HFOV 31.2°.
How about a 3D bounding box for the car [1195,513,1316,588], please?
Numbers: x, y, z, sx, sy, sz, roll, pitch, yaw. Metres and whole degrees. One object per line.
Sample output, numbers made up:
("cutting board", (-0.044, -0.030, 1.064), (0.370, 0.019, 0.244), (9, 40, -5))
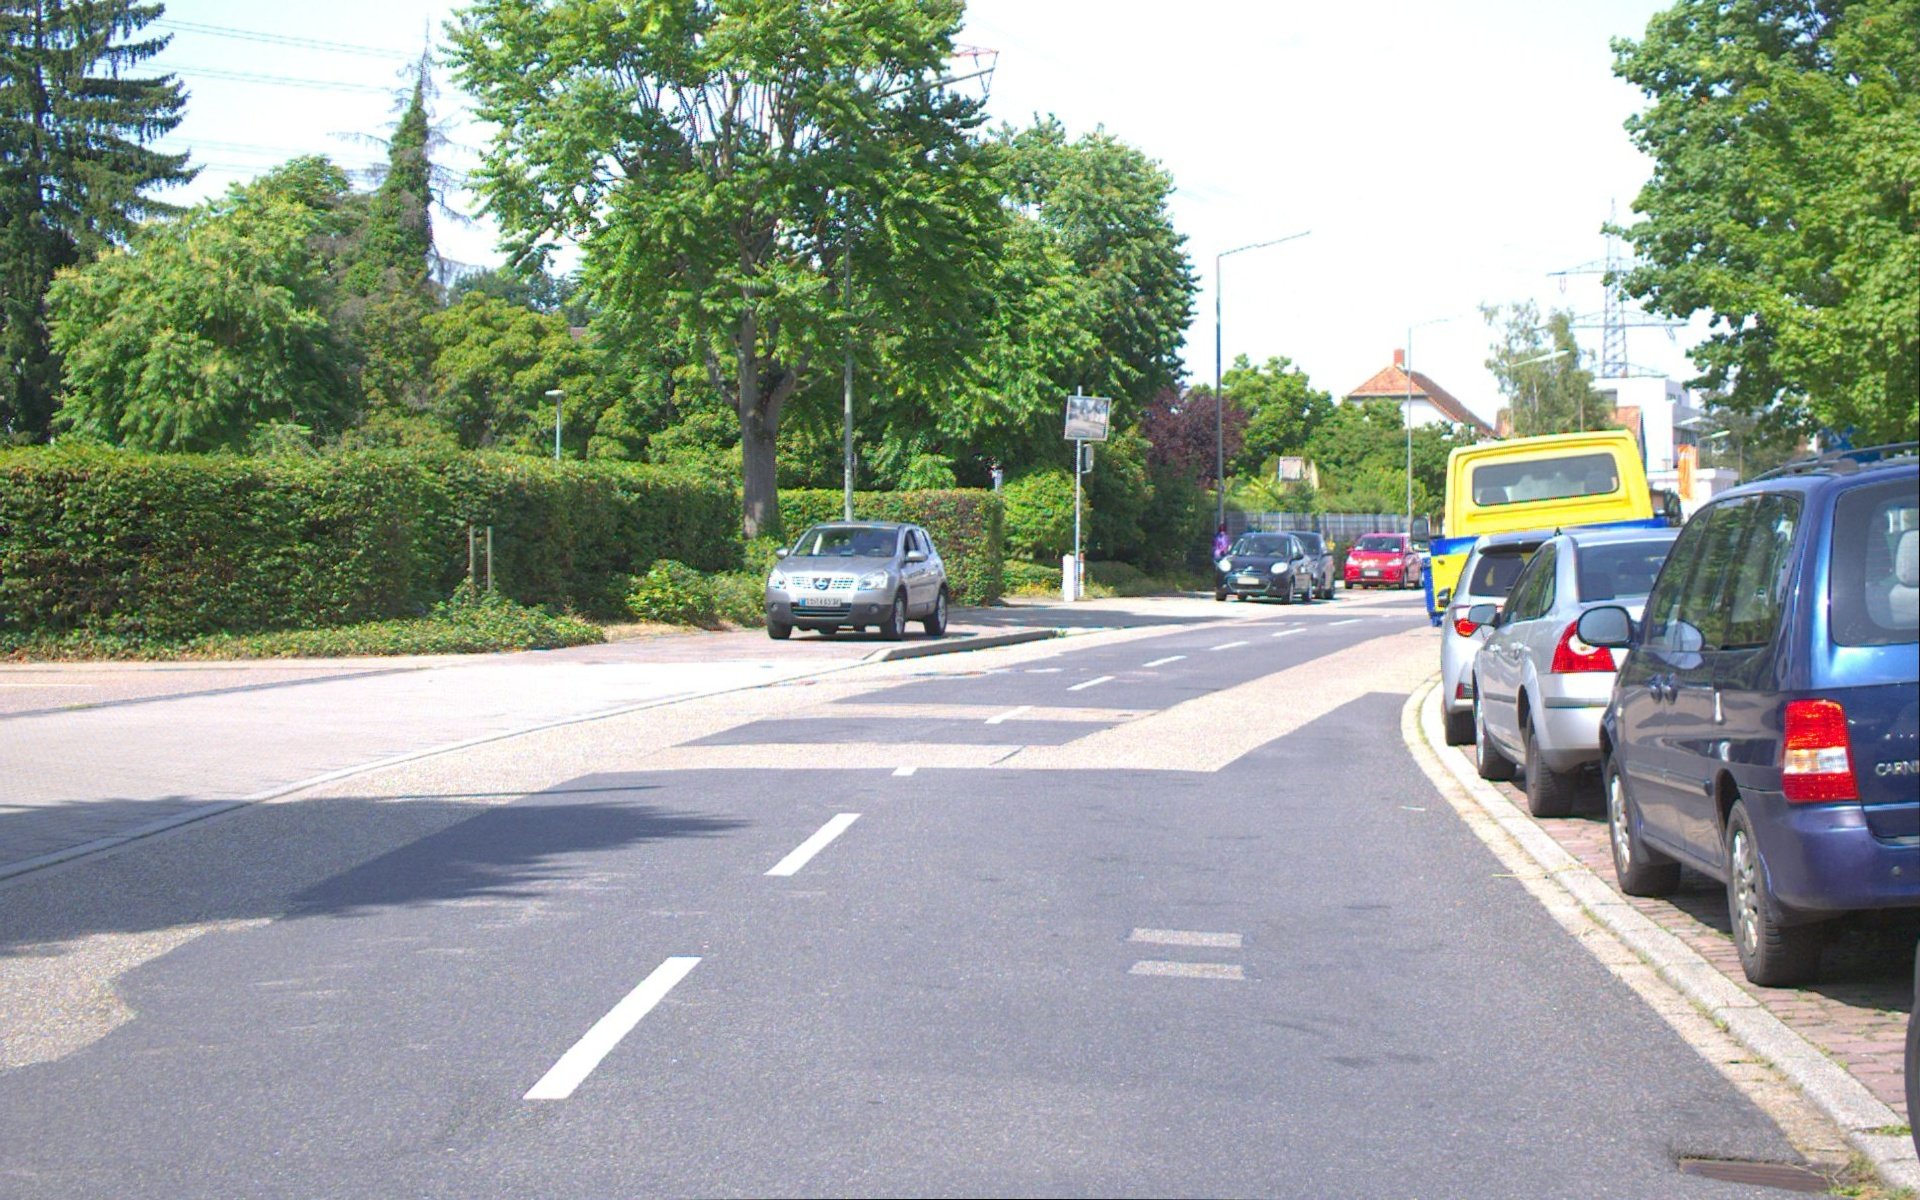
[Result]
("car", (6.452, -1.085, 74.757), (1.846, 1.503, 3.997), (3, 2, 15))

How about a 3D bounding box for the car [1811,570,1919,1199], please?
("car", (3.013, 0.681, 6.037), (1.841, 1.455, 4.869), (-2, 1, 1))

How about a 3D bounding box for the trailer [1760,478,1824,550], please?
("trailer", (33.730, -3.439, 139.230), (2.206, 2.727, 6.217), (-3, 0, 15))

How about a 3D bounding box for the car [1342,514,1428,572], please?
("car", (11.364, -1.522, 91.757), (1.667, 1.462, 3.741), (2, 1, 17))

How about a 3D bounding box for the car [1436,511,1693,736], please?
("car", (4.366, 0.132, 25.256), (1.686, 1.489, 3.947), (-1, 1, 8))

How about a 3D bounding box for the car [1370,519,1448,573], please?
("car", (12.605, -1.520, 96.348), (1.646, 1.472, 4.026), (0, 1, 15))

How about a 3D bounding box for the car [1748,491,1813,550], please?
("car", (28.828, -2.773, 120.722), (1.995, 2.007, 5.645), (0, 1, 16))

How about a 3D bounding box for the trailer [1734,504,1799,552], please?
("trailer", (26.070, -2.307, 111.215), (1.749, 1.412, 4.547), (-3, 0, 11))

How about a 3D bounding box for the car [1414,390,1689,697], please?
("car", (5.374, -0.509, 31.331), (2.158, 2.456, 6.637), (-1, 1, 10))

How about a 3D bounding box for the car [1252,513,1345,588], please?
("car", (7.913, -1.173, 80.187), (1.651, 1.639, 3.271), (3, 2, 14))

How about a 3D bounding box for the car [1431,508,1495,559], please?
("car", (15.369, -2.046, 104.906), (1.621, 1.517, 4.173), (0, 1, 13))

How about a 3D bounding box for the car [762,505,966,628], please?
("car", (-1.256, -0.472, 46.936), (1.758, 1.568, 4.475), (1, 1, 12))

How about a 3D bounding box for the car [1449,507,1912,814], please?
("car", (3.924, 0.261, 19.486), (1.832, 1.487, 4.656), (-2, 1, 3))

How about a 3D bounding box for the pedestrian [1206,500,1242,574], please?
("pedestrian", (6.415, -1.525, 83.603), (0.708, 1.795, 0.915), (0, 1, 16))

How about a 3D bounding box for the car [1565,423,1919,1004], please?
("car", (3.545, 0.276, 12.992), (1.850, 1.759, 5.077), (-2, 1, 3))

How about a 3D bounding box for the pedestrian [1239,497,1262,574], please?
("pedestrian", (7.078, -1.570, 83.767), (0.451, 1.887, 0.677), (0, 1, 16))
